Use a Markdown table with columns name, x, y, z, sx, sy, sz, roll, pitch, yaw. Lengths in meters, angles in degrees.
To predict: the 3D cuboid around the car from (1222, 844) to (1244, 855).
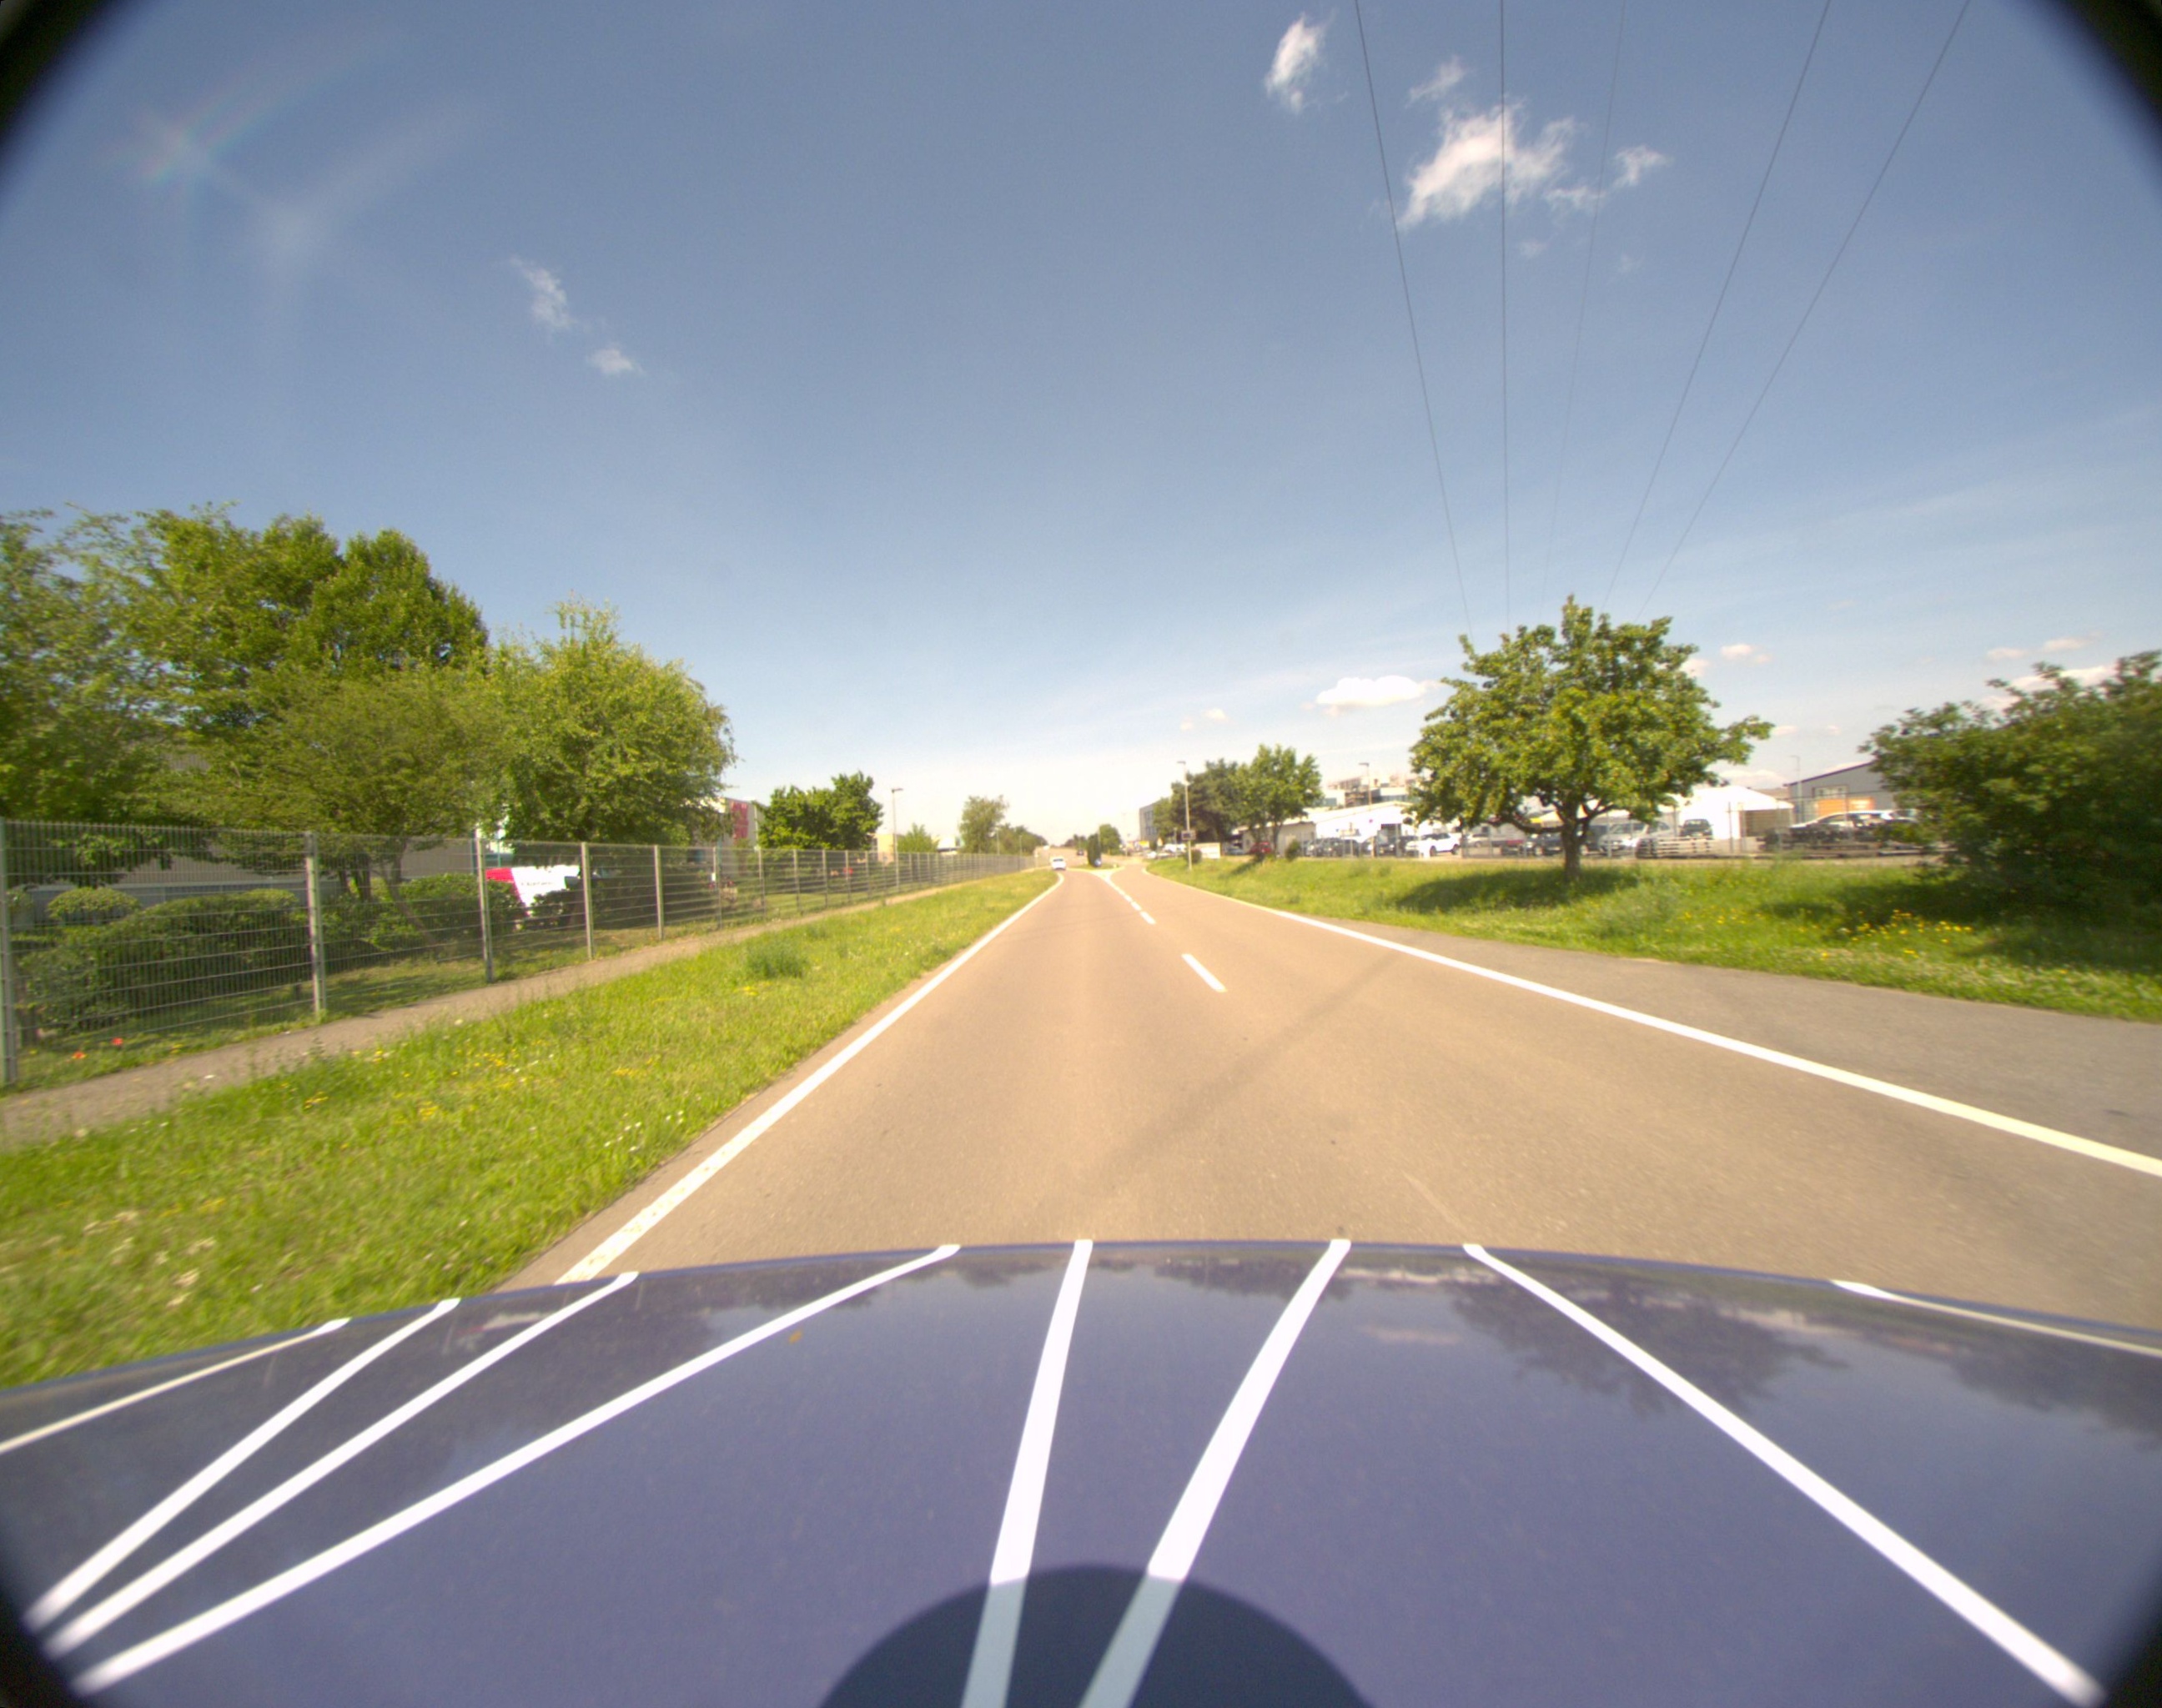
| name | x | y | z | sx | sy | sz | roll | pitch | yaw |
| --- | --- | --- | --- | --- | --- | --- | --- | --- | --- |
| car | 21.619 | -0.686 | 108.138 | 1.999 | 1.400 | 4.515 | -4 | 0 | -1 |

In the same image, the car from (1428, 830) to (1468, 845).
| name | x | y | z | sx | sy | sz | roll | pitch | yaw |
| --- | --- | --- | --- | --- | --- | --- | --- | --- | --- |
| car | 38.417 | -1.710 | 79.626 | 1.925 | 1.425 | 3.998 | -4 | 0 | -4 |

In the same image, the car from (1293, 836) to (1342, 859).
| name | x | y | z | sx | sy | sz | roll | pitch | yaw |
| --- | --- | --- | --- | --- | --- | --- | --- | --- | --- |
| car | 20.406 | -0.596 | 65.504 | 4.115 | 1.695 | 1.719 | -4 | 0 | -33 |

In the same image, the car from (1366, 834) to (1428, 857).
| name | x | y | z | sx | sy | sz | roll | pitch | yaw |
| --- | --- | --- | --- | --- | --- | --- | --- | --- | --- |
| car | 21.962 | -0.575 | 52.759 | 4.005 | 1.302 | 1.938 | -4 | 0 | -31 |

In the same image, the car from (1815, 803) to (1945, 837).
| name | x | y | z | sx | sy | sz | roll | pitch | yaw |
| --- | --- | --- | --- | --- | --- | --- | --- | --- | --- |
| car | 38.236 | -1.588 | 36.460 | 1.846 | 1.302 | 3.991 | -4 | 0 | -33 |

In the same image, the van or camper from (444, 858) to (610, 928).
| name | x | y | z | sx | sy | sz | roll | pitch | yaw |
| --- | --- | --- | --- | --- | --- | --- | --- | --- | --- |
| van or camper | -25.594 | 1.754 | 35.282 | 5.788 | 2.504 | 1.999 | -6 | 1 | -6 |

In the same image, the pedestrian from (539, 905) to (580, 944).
| name | x | y | z | sx | sy | sz | roll | pitch | yaw |
| --- | --- | --- | --- | --- | --- | --- | --- | --- | --- |
| pedestrian | -13.158 | 1.782 | 19.193 | 0.667 | 0.888 | 0.511 | -4 | 1 | -15 |

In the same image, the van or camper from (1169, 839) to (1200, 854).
| name | x | y | z | sx | sy | sz | roll | pitch | yaw |
| --- | --- | --- | --- | --- | --- | --- | --- | --- | --- |
| van or camper | 20.346 | -1.456 | 148.822 | 5.576 | 2.483 | 2.081 | -3 | 1 | 23 |

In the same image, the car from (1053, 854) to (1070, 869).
| name | x | y | z | sx | sy | sz | roll | pitch | yaw |
| --- | --- | --- | --- | --- | --- | --- | --- | --- | --- |
| car | -2.648 | 1.048 | 103.843 | 1.998 | 1.904 | 4.000 | -3 | 1 | 3 |

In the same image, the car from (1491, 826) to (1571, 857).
| name | x | y | z | sx | sy | sz | roll | pitch | yaw |
| --- | --- | --- | --- | --- | --- | --- | --- | --- | --- |
| car | 23.289 | -0.643 | 39.286 | 4.006 | 1.302 | 1.938 | -4 | 0 | -33 |

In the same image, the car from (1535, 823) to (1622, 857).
| name | x | y | z | sx | sy | sz | roll | pitch | yaw |
| --- | --- | --- | --- | --- | --- | --- | --- | --- | --- |
| car | 23.584 | -0.672 | 35.998 | 4.006 | 1.302 | 1.938 | -4 | 0 | -33 |

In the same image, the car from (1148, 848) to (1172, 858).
| name | x | y | z | sx | sy | sz | roll | pitch | yaw |
| --- | --- | --- | --- | --- | --- | --- | --- | --- | --- |
| car | 14.306 | -0.202 | 137.745 | 3.996 | 1.510 | 2.000 | -3 | 1 | 2 |

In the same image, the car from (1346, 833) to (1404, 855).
| name | x | y | z | sx | sy | sz | roll | pitch | yaw |
| --- | --- | --- | --- | --- | --- | --- | --- | --- | --- |
| car | 21.867 | -0.744 | 56.509 | 4.006 | 1.302 | 1.938 | -4 | 0 | -33 |

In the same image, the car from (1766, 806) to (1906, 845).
| name | x | y | z | sx | sy | sz | roll | pitch | yaw |
| --- | --- | --- | --- | --- | --- | --- | --- | --- | --- |
| car | 35.320 | -1.311 | 35.666 | 2.003 | 1.477 | 4.238 | -4 | 0 | -31 |

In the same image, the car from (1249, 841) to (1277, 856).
| name | x | y | z | sx | sy | sz | roll | pitch | yaw |
| --- | --- | --- | --- | --- | --- | --- | --- | --- | --- |
| car | 22.731 | -0.621 | 95.006 | 1.999 | 1.734 | 4.227 | -3 | 0 | -6 |

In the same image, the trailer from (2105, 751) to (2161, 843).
| name | x | y | z | sx | sy | sz | roll | pitch | yaw |
| --- | --- | --- | --- | --- | --- | --- | --- | --- | --- |
| trailer | 35.942 | -1.925 | 23.446 | 5.579 | 2.809 | 2.739 | -4 | 0 | -7 |

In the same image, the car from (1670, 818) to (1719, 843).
| name | x | y | z | sx | sy | sz | roll | pitch | yaw |
| --- | --- | --- | --- | --- | --- | --- | --- | --- | --- |
| car | 43.038 | -1.684 | 53.374 | 1.938 | 1.564 | 4.006 | -4 | 0 | 29 |

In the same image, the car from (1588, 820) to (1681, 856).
| name | x | y | z | sx | sy | sz | roll | pitch | yaw |
| --- | --- | --- | --- | --- | --- | --- | --- | --- | --- |
| car | 24.305 | -0.706 | 33.359 | 4.006 | 1.302 | 1.938 | -4 | 0 | -33 |

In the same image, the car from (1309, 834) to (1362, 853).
| name | x | y | z | sx | sy | sz | roll | pitch | yaw |
| --- | --- | --- | --- | --- | --- | --- | --- | --- | --- |
| car | 20.903 | -0.863 | 62.332 | 4.006 | 1.302 | 1.938 | -4 | 0 | -33 |

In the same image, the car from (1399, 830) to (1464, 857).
| name | x | y | z | sx | sy | sz | roll | pitch | yaw |
| --- | --- | --- | --- | --- | --- | --- | --- | --- | --- |
| car | 22.812 | -0.686 | 49.443 | 4.006 | 1.531 | 1.938 | -4 | 0 | -33 |
